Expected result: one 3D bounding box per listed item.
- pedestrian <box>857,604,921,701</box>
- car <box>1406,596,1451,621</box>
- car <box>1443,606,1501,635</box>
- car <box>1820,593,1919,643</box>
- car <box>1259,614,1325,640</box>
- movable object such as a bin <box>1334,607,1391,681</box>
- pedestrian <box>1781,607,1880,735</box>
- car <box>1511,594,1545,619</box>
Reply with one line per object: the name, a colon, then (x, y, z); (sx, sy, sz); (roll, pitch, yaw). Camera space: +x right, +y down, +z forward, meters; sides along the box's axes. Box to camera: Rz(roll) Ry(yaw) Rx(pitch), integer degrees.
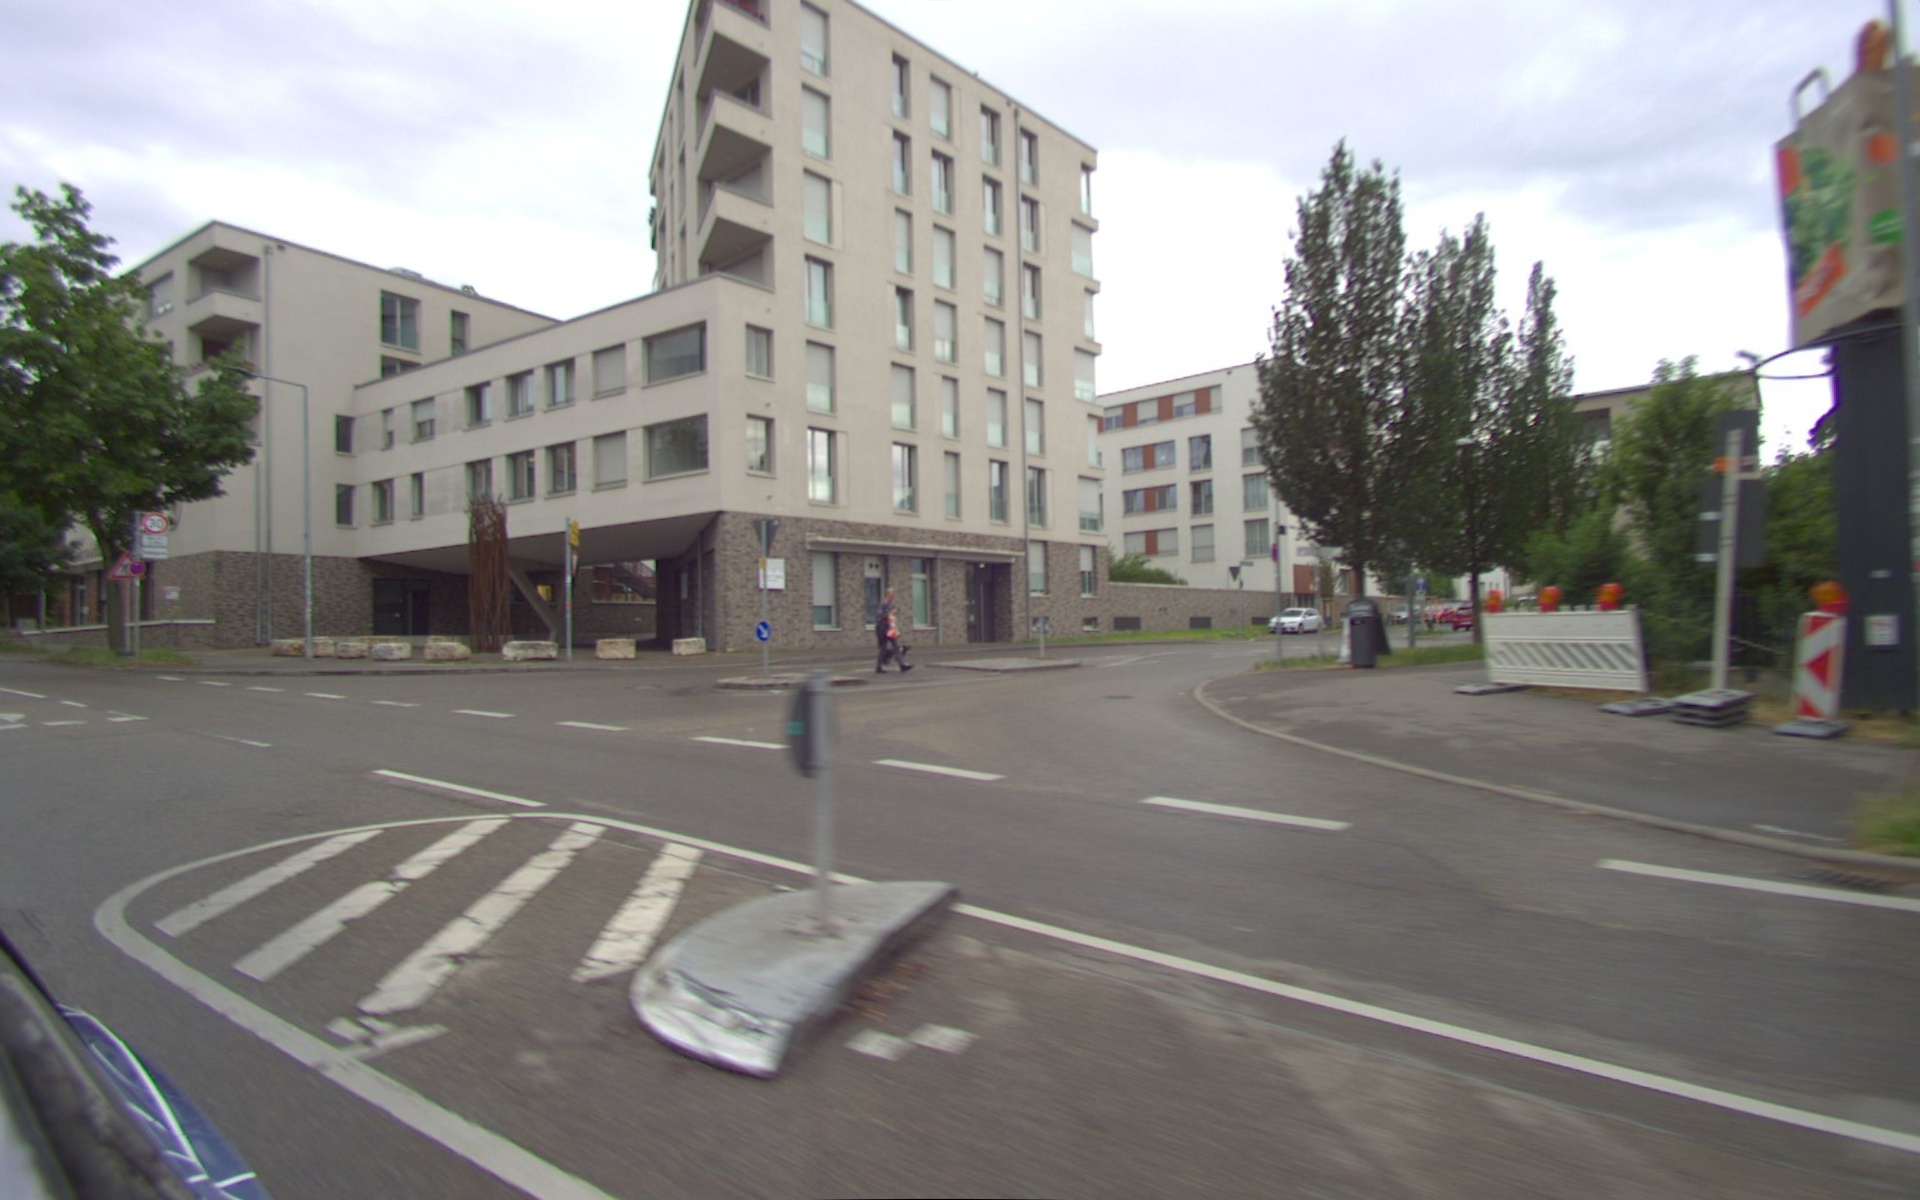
pedestrian: (-1.511, 1.098, 21.692); (1.089, 2.029, 1.053); (0, 0, 15)
car: (35.185, 0.648, 75.960); (1.999, 1.763, 3.945); (-2, -2, 41)
car: (29.139, 1.145, 57.513); (1.999, 1.494, 3.946); (-2, 0, 41)
car: (33.087, 0.590, 34.900); (4.765, 1.673, 2.058); (-1, -1, 9)
car: (18.893, 1.544, 57.467); (2.000, 1.312, 4.091); (-2, -1, 43)
movable object such as a bin: (7.753, 0.838, 19.508); (0.821, 1.373, 0.708); (-2, -2, 38)
pedestrian: (14.481, 1.155, 16.877); (1.115, 2.029, 0.875); (-2, -1, 36)
car: (43.144, 0.499, 76.874); (1.994, 1.763, 3.955); (-2, -1, 33)
